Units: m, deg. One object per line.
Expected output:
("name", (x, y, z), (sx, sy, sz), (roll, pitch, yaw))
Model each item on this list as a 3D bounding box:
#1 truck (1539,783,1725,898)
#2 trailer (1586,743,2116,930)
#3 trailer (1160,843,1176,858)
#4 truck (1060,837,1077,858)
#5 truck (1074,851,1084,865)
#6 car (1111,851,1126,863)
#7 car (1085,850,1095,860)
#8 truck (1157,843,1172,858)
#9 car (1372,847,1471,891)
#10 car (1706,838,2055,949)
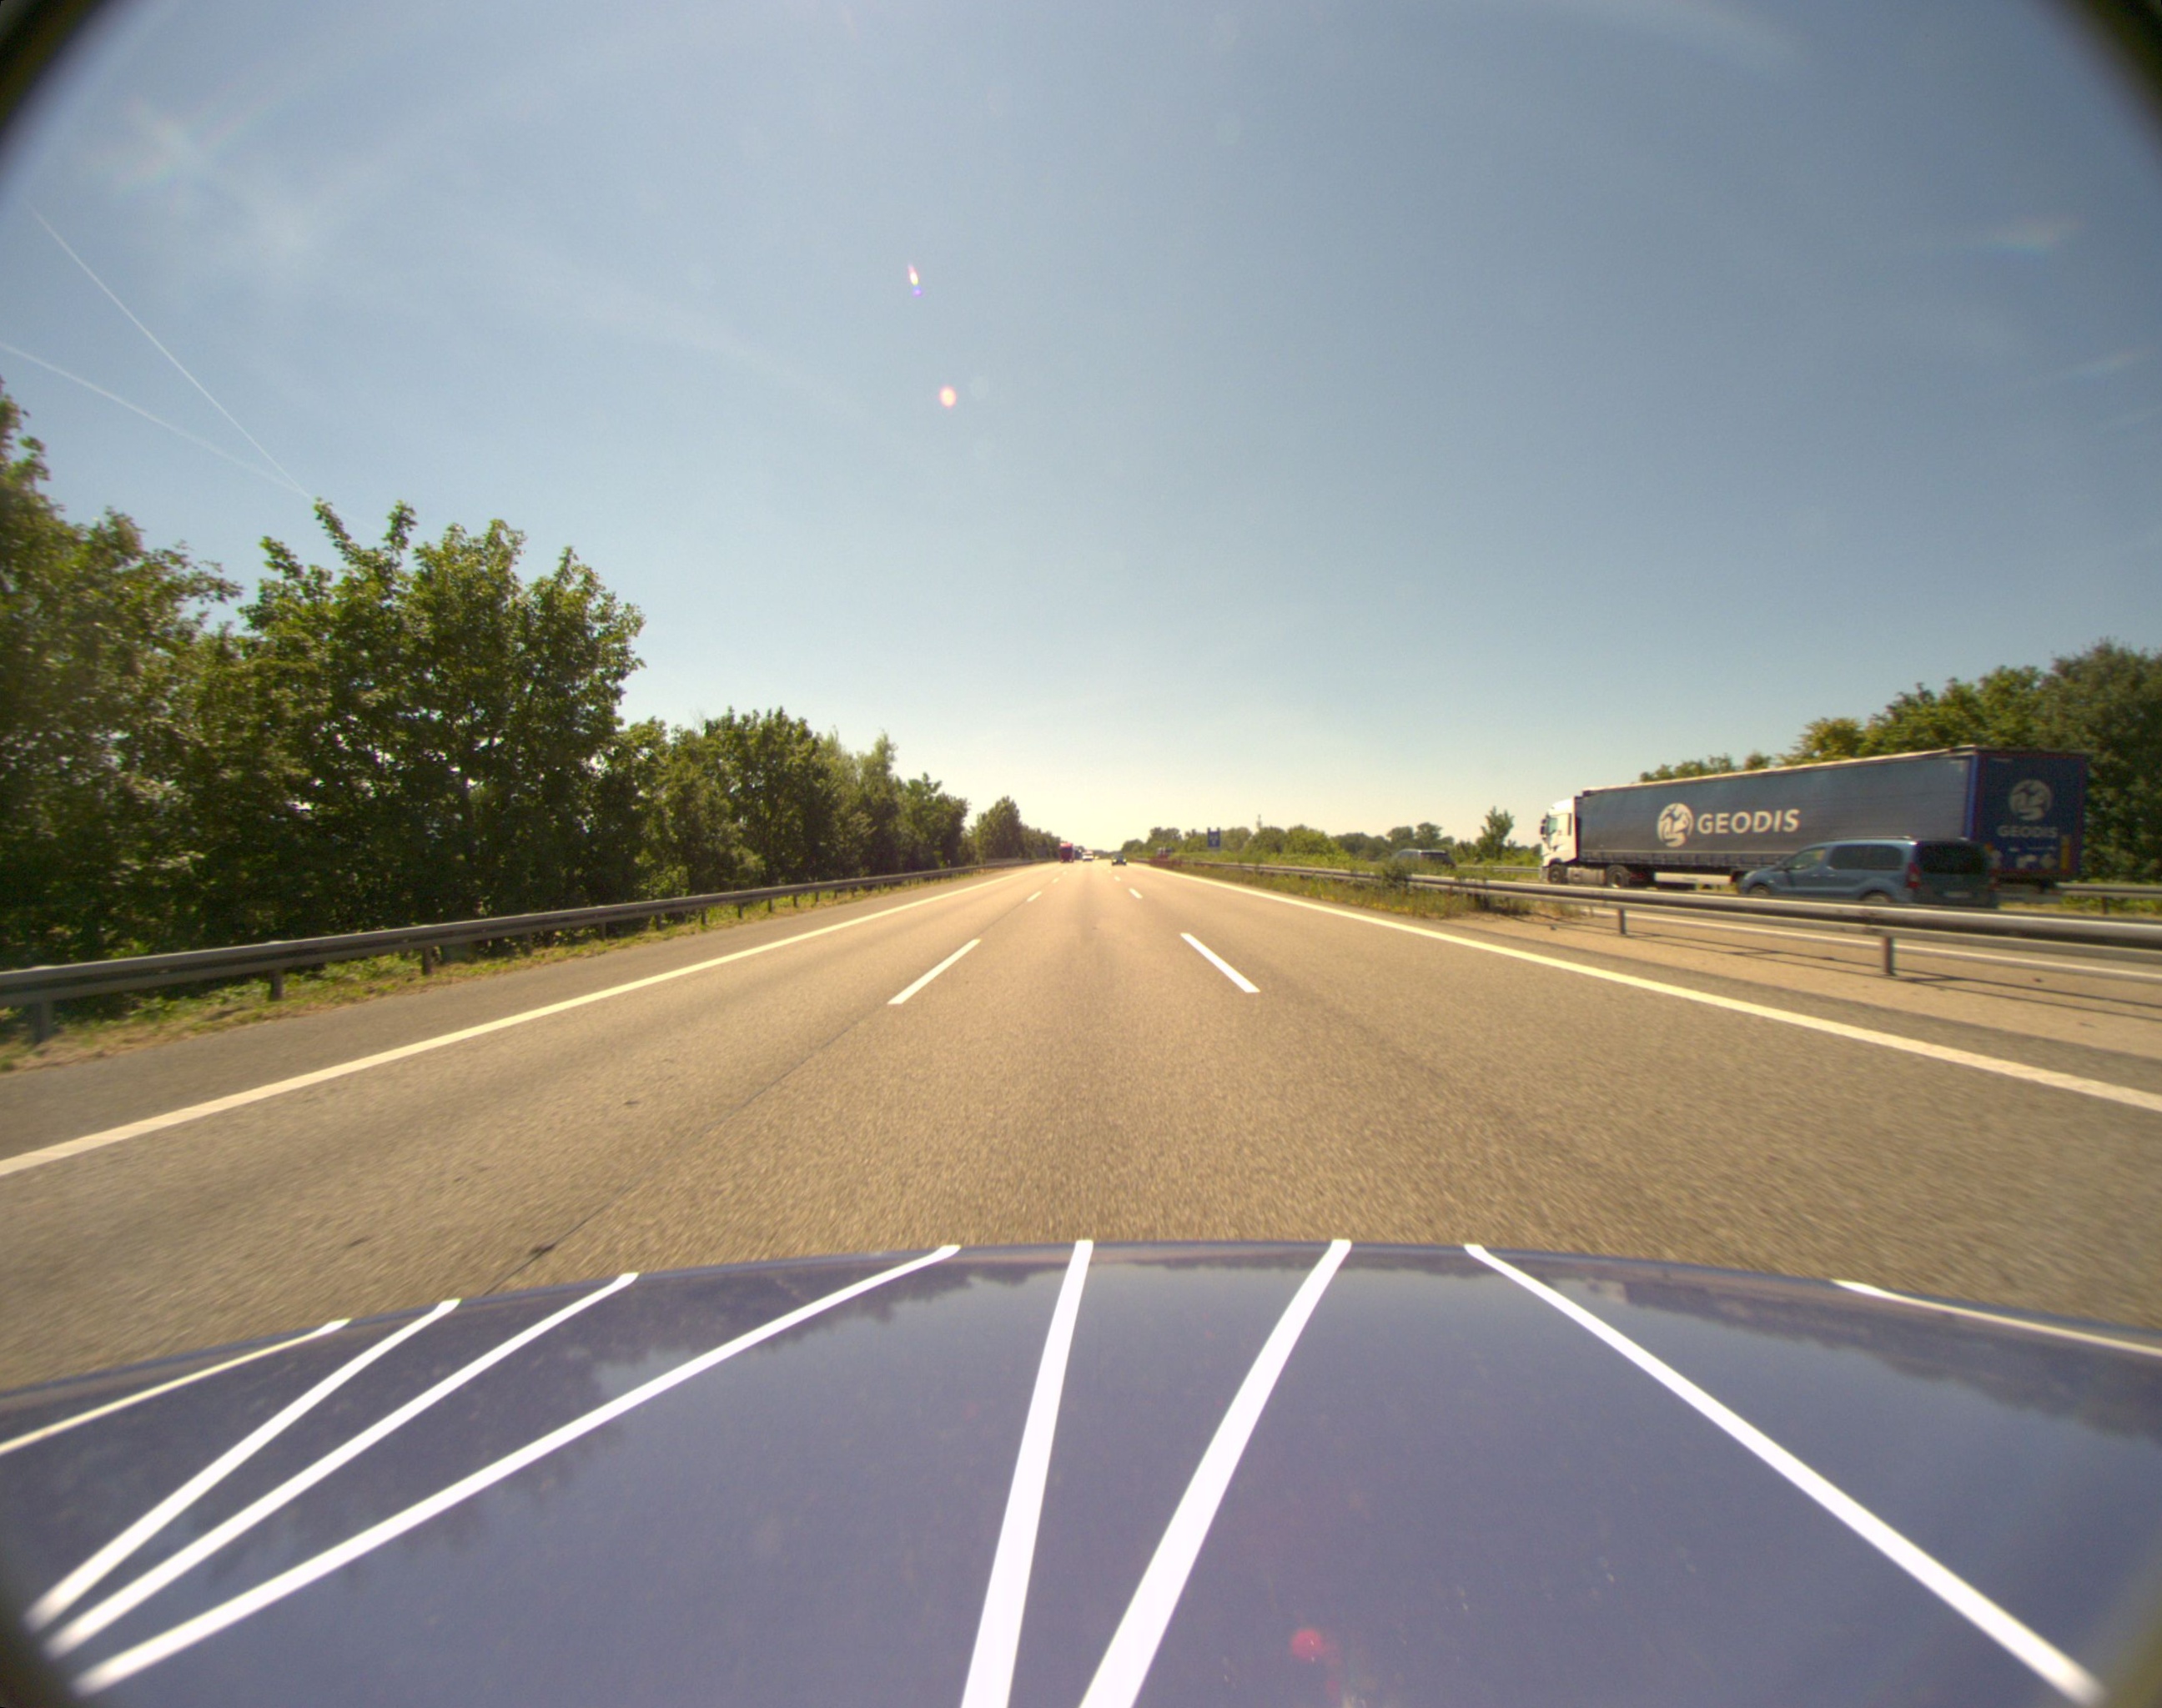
("truck", (21.914, -0.513, 30.745), (2.923, 4.106, 6.193), (1, 1, 1))
("trailer", (21.841, -0.454, 23.890), (2.927, 4.162, 13.539), (1, 1, 1))
("trailer", (24.227, -1.037, 211.742), (2.933, 3.967, 9.657), (-2, 0, -2))
("truck", (-2.514, -1.276, 155.793), (2.938, 3.933, 10.260), (-2, 0, 1))
("truck", (-0.655, 1.266, 250.662), (2.938, 4.428, 10.260), (-2, 0, 1))
("car", (4.666, 0.390, 94.652), (1.736, 1.433, 4.000), (-2, 0, 1))
("car", (1.993, 0.151, 159.989), (1.998, 2.002, 4.756), (-2, 0, 1))
("truck", (23.944, -1.015, 219.274), (2.925, 3.967, 9.622), (-2, 0, -2))
("car", (13.169, 0.531, 29.729), (1.755, 1.475, 4.726), (3, 1, 2))
("car", (17.417, 0.723, 17.135), (2.234, 1.977, 5.356), (-4, 1, 1))
